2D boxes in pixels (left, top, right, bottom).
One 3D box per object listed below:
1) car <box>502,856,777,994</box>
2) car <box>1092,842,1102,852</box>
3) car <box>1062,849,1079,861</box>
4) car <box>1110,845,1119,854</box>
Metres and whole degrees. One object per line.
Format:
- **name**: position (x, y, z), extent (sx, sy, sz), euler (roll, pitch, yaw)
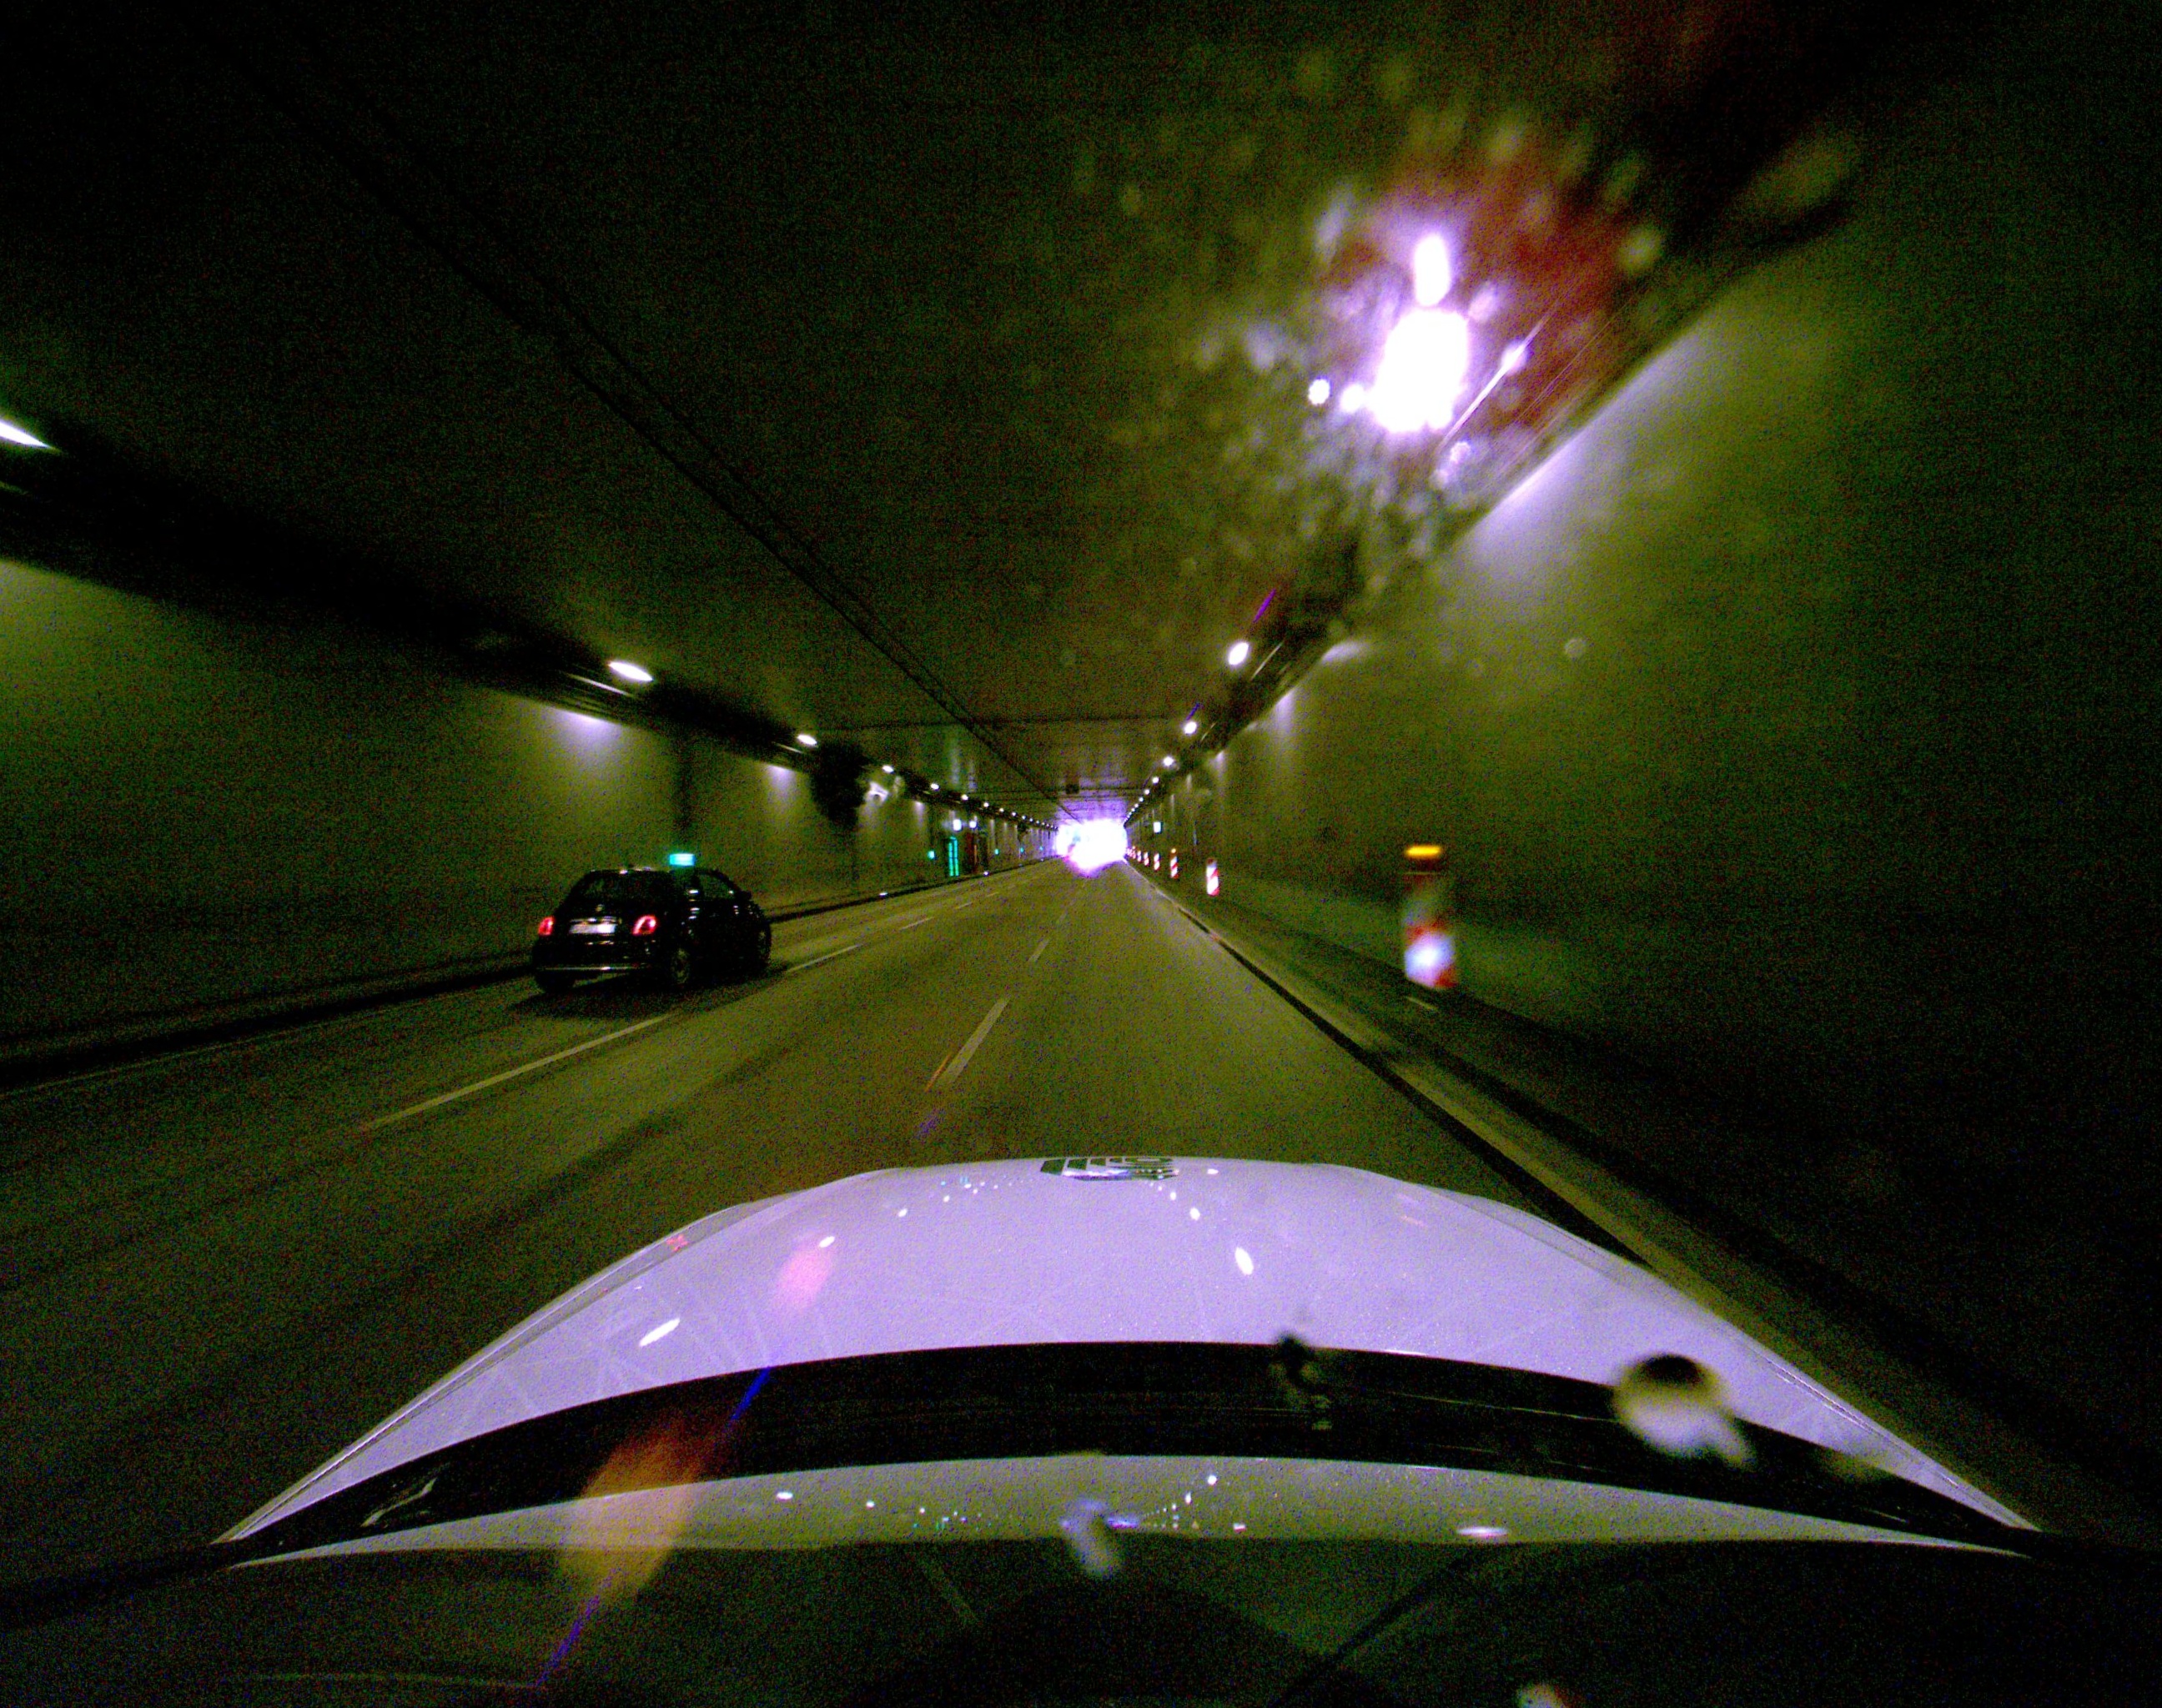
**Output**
- **car**: position (-5.434, 0.770, 10.572), extent (1.607, 1.454, 3.572), euler (0, 0, 0)
- **car**: position (3.424, -1.513, 169.137), extent (1.986, 2.014, 4.002), euler (0, 0, 2)
- **car**: position (-1.318, 0.079, 100.402), extent (1.988, 1.448, 4.311), euler (1, 0, -2)
- **car**: position (7.641, -0.954, 183.894), extent (1.986, 2.014, 4.002), euler (0, 0, 2)
